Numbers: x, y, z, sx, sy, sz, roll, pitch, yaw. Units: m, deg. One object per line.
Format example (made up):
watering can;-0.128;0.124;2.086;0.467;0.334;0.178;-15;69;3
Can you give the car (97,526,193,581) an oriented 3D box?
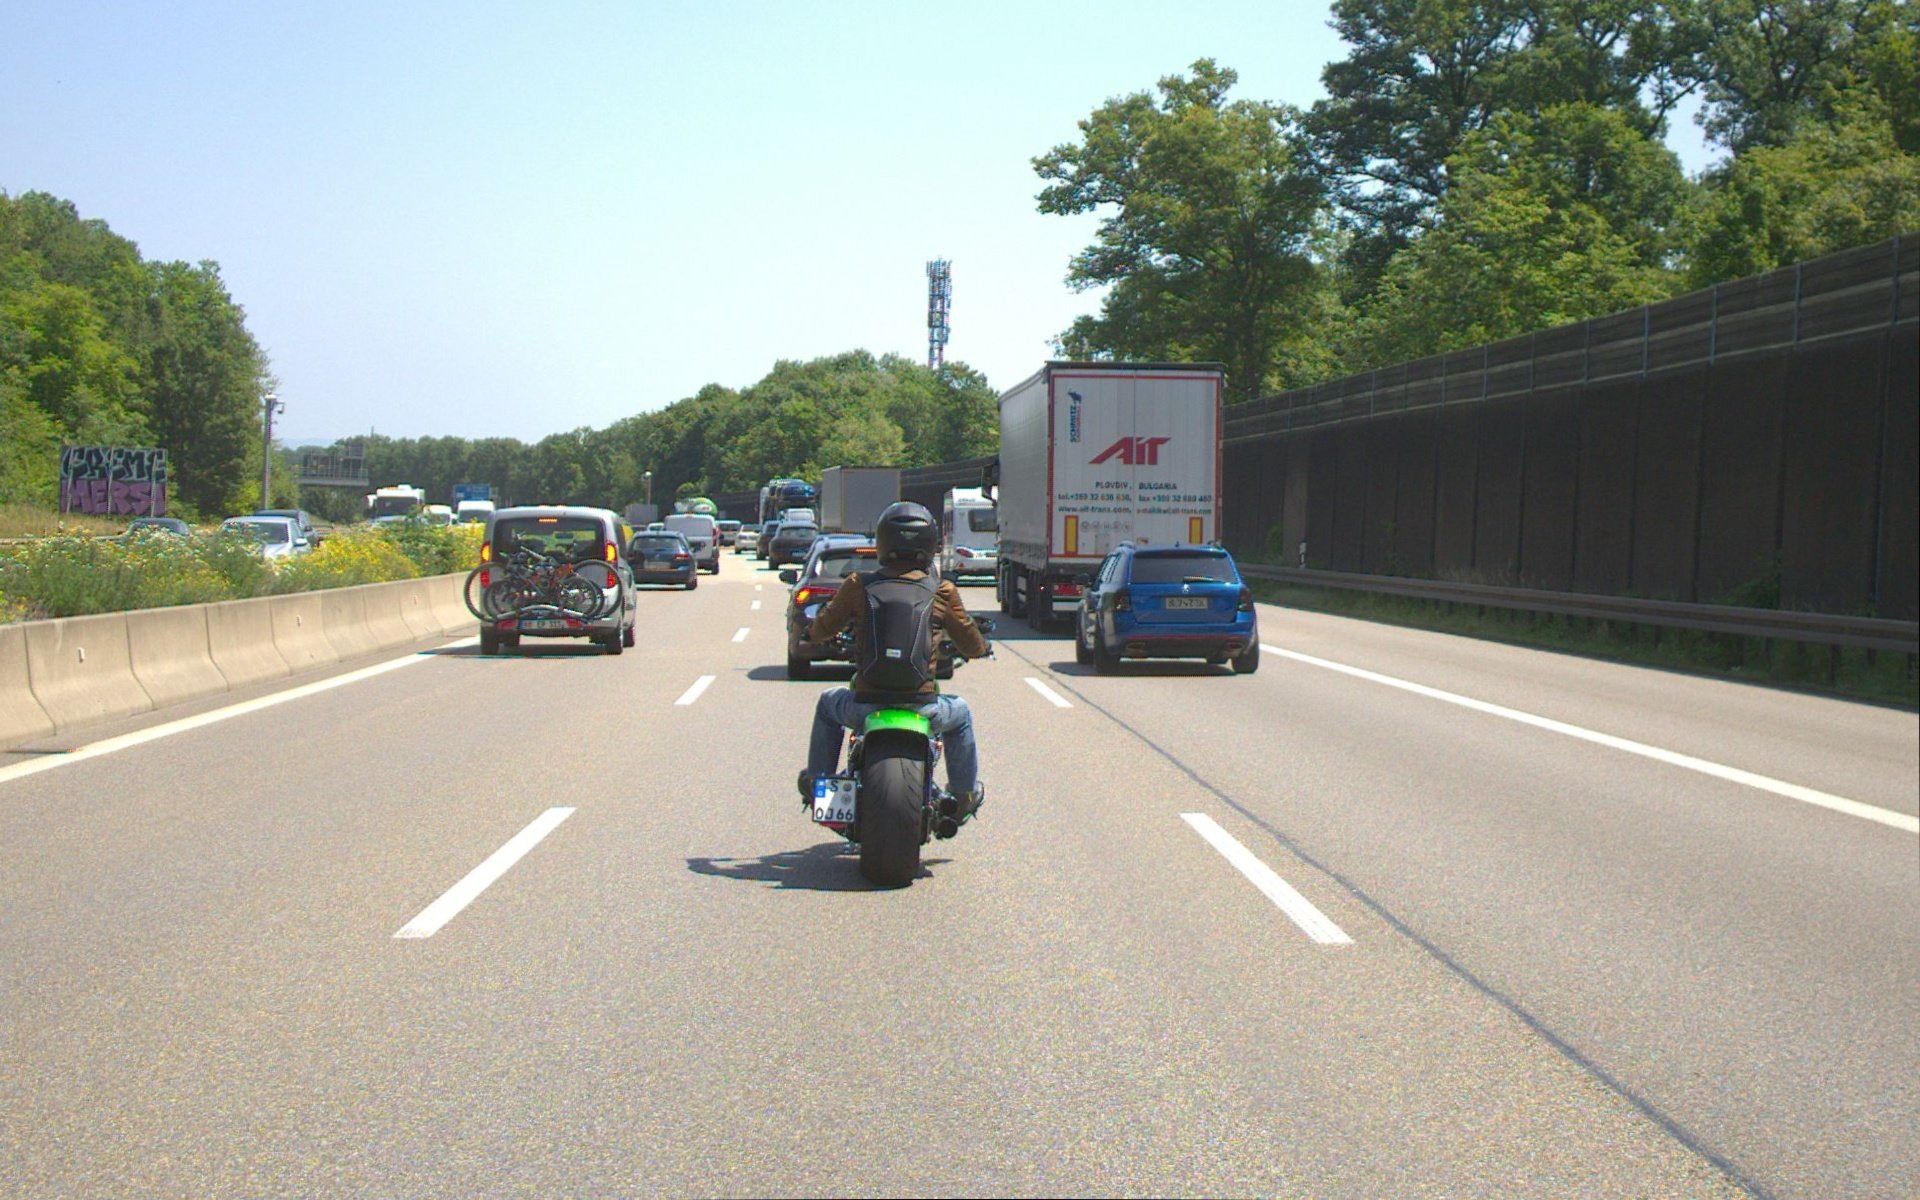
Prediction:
car;-22.218;-1.256;93.841;1.788;1.451;4.000;0;0;-2

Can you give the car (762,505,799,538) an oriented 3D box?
car;-10.704;-4.687;205.152;2.107;1.870;4.001;0;0;-4

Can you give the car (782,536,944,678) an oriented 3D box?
car;-1.068;0.063;37.184;1.662;1.448;3.869;0;0;-2

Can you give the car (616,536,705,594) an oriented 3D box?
car;-7.319;-0.842;84.287;1.993;1.382;4.000;0;0;-2

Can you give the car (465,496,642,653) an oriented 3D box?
car;-5.064;-0.317;43.312;1.899;1.867;4.413;0;0;-3

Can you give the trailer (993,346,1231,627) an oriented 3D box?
trailer;2.254;-1.788;56.456;2.885;4.024;13.796;0;1;-2

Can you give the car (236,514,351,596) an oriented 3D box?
car;-12.031;-0.805;62.215;1.477;1.437;3.564;0;0;-1

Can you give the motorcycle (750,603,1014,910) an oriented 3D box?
motorcycle;-0.292;0.628;15.169;0.964;1.144;2.811;1;1;3

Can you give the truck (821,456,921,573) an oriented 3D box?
truck;-3.967;-3.668;150.676;3.802;4.943;8.952;0;0;-5

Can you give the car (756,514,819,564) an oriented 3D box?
car;-5.875;-2.070;117.418;1.993;1.634;4.000;0;0;-1

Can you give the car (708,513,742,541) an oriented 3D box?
car;-13.493;-4.195;197.771;1.832;1.491;3.744;0;0;-2

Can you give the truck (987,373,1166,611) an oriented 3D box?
truck;2.062;-1.944;62.956;2.885;4.132;5.986;0;1;-2

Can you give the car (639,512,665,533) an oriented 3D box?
car;-22.341;-5.625;249.398;1.832;1.491;3.744;0;0;-6

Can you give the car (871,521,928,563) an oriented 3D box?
car;-2.376;-2.254;134.399;1.993;1.568;4.001;0;0;-4

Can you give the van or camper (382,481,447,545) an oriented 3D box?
van or camper;-29.759;-4.712;187.848;2.539;3.306;9.003;0;0;-3

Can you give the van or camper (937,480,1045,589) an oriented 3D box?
van or camper;0.776;-1.707;92.213;2.685;2.803;6.803;0;0;-1

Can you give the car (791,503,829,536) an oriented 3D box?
car;-8.716;-4.654;199.535;2.107;1.870;4.001;0;0;-4

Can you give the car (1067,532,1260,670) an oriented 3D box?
car;2.272;0.000;39.422;1.650;1.477;4.482;0;0;-4

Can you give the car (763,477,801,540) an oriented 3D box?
car;-11.174;-5.740;215.506;2.133;3.848;8.144;1;1;-5

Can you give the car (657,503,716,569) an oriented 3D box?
car;-8.534;-1.969;107.333;1.791;2.007;3.642;0;0;-4

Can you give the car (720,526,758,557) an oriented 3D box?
car;-10.894;-2.869;169.758;1.832;1.491;3.744;0;0;-3

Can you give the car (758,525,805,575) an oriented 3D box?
car;-7.481;-2.078;143.852;1.911;2.007;3.691;0;0;-3

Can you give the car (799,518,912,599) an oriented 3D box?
car;-1.911;-0.734;62.436;1.993;1.425;3.847;0;0;-2

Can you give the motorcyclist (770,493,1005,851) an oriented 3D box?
motorcyclist;-0.288;0.292;15.090;0.900;1.470;1.872;0;0;3
